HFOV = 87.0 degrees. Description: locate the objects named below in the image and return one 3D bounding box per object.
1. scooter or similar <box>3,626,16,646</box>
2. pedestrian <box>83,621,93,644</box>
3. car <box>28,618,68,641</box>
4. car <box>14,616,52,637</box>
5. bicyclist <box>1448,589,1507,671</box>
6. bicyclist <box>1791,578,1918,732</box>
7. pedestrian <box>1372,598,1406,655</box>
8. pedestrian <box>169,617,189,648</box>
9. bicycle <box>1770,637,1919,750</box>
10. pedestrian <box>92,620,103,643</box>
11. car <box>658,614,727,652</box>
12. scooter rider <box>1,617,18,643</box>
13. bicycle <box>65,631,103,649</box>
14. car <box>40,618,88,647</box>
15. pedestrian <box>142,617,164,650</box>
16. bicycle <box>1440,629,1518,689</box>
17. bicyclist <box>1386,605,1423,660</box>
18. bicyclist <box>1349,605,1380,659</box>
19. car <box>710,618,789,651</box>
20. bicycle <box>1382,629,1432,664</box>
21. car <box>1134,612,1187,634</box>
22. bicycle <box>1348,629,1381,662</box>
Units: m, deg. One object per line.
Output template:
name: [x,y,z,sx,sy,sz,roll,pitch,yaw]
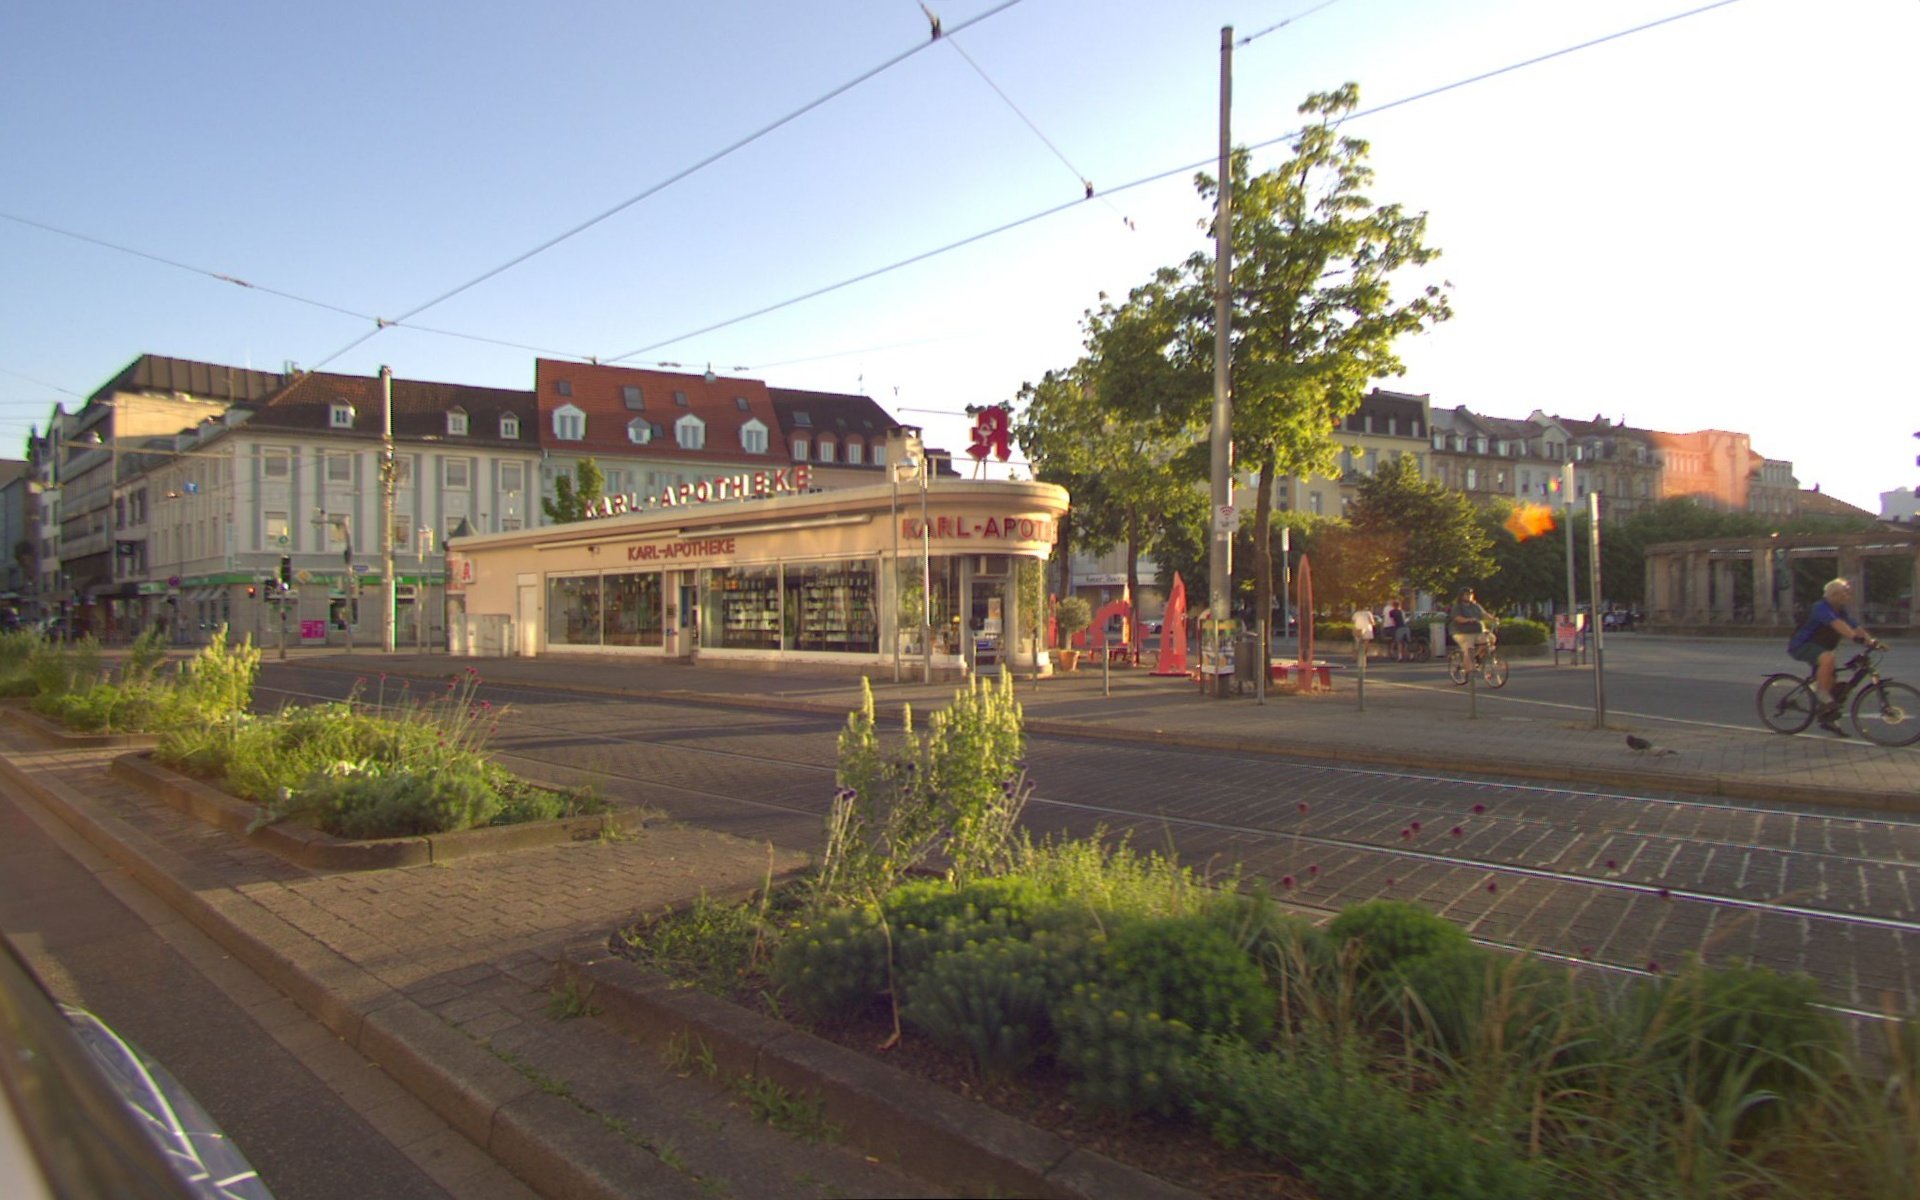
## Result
scooter or similar: [-66.854,2.520,71.184,1.669,1.361,0.538,-1,-1,42]
pedestrian: [-65.825,2.432,76.396,0.583,1.697,0.503,1,0,40]
car: [-66.354,2.129,73.604,3.997,1.636,1.679,-1,-1,40]
car: [-74.745,2.126,81.591,3.998,1.569,1.796,1,0,41]
bicyclist: [10.282,0.590,20.112,0.742,1.588,0.704,1,0,-7]
bicyclist: [9.875,0.596,11.203,0.731,1.624,0.800,1,-2,10]
pedestrian: [12.818,0.789,30.262,0.666,1.688,0.659,1,0,-34]
pedestrian: [-43.359,1.800,56.212,0.814,1.653,0.816,-1,-1,-33]
bicycle: [9.887,0.989,11.261,0.455,1.120,1.922,0,-1,9]
pedestrian: [-65.479,2.400,76.835,0.600,1.747,0.509,1,0,41]
car: [-15.509,1.875,58.616,3.998,2.029,1.973,1,0,41]
scooter rider: [-66.973,2.133,71.281,0.788,1.821,0.803,-3,-3,41]
bicycle: [-52.560,2.383,60.759,1.715,1.067,0.499,1,-3,-41]
car: [-61.716,2.200,69.718,4.126,1.809,1.891,0,1,40]
pedestrian: [-44.618,1.843,55.961,0.813,1.741,0.816,-1,0,-29]
bicycle: [10.261,1.149,20.080,0.488,1.120,1.714,1,-2,-7]
bicyclist: [12.637,0.914,28.782,0.665,1.531,0.659,0,-1,-22]
bicyclist: [11.782,0.930,29.473,0.677,1.531,0.648,-1,-1,39]
car: [-11.506,1.833,55.213,4.679,1.577,1.779,1,0,41]
bicycle: [12.656,1.307,28.691,0.418,0.922,1.432,1,0,-20]
car: [13.903,1.615,70.175,3.294,1.479,1.555,1,-1,-26]
bicycle: [11.757,1.303,29.373,0.425,0.922,1.510,1,0,40]
